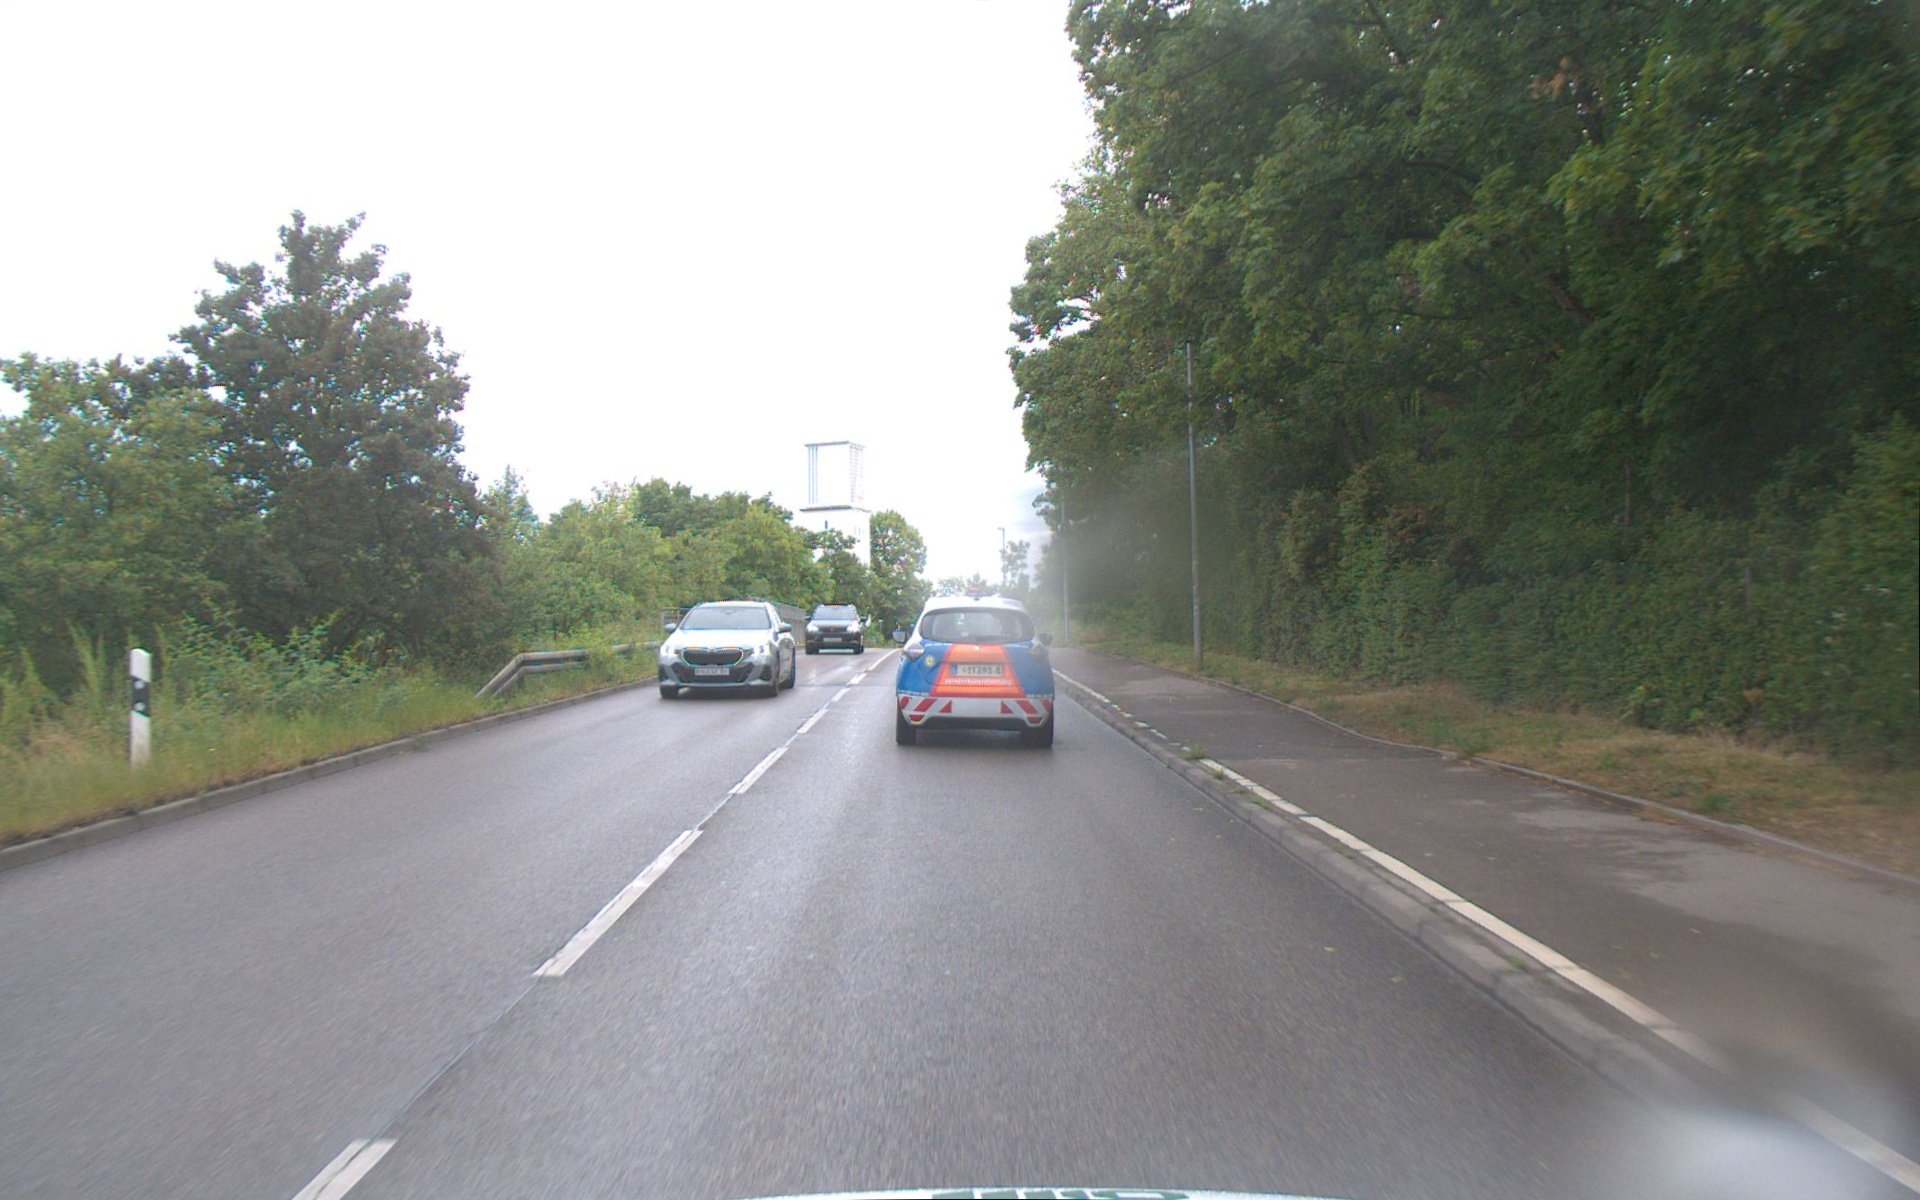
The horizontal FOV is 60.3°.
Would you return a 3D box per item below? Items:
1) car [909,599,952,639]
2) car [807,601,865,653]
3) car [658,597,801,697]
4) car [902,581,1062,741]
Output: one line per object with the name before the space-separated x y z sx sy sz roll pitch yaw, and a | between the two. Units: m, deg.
car | -1.265 0.814 71.064 1.766 1.618 3.562 -2 0 -1
car | -4.056 0.859 54.595 1.695 1.613 4.079 0 0 -1
car | -3.755 0.721 27.718 1.824 1.530 4.727 0 0 -1
car | 0.193 0.648 18.604 1.624 1.621 3.567 0 -1 -1
